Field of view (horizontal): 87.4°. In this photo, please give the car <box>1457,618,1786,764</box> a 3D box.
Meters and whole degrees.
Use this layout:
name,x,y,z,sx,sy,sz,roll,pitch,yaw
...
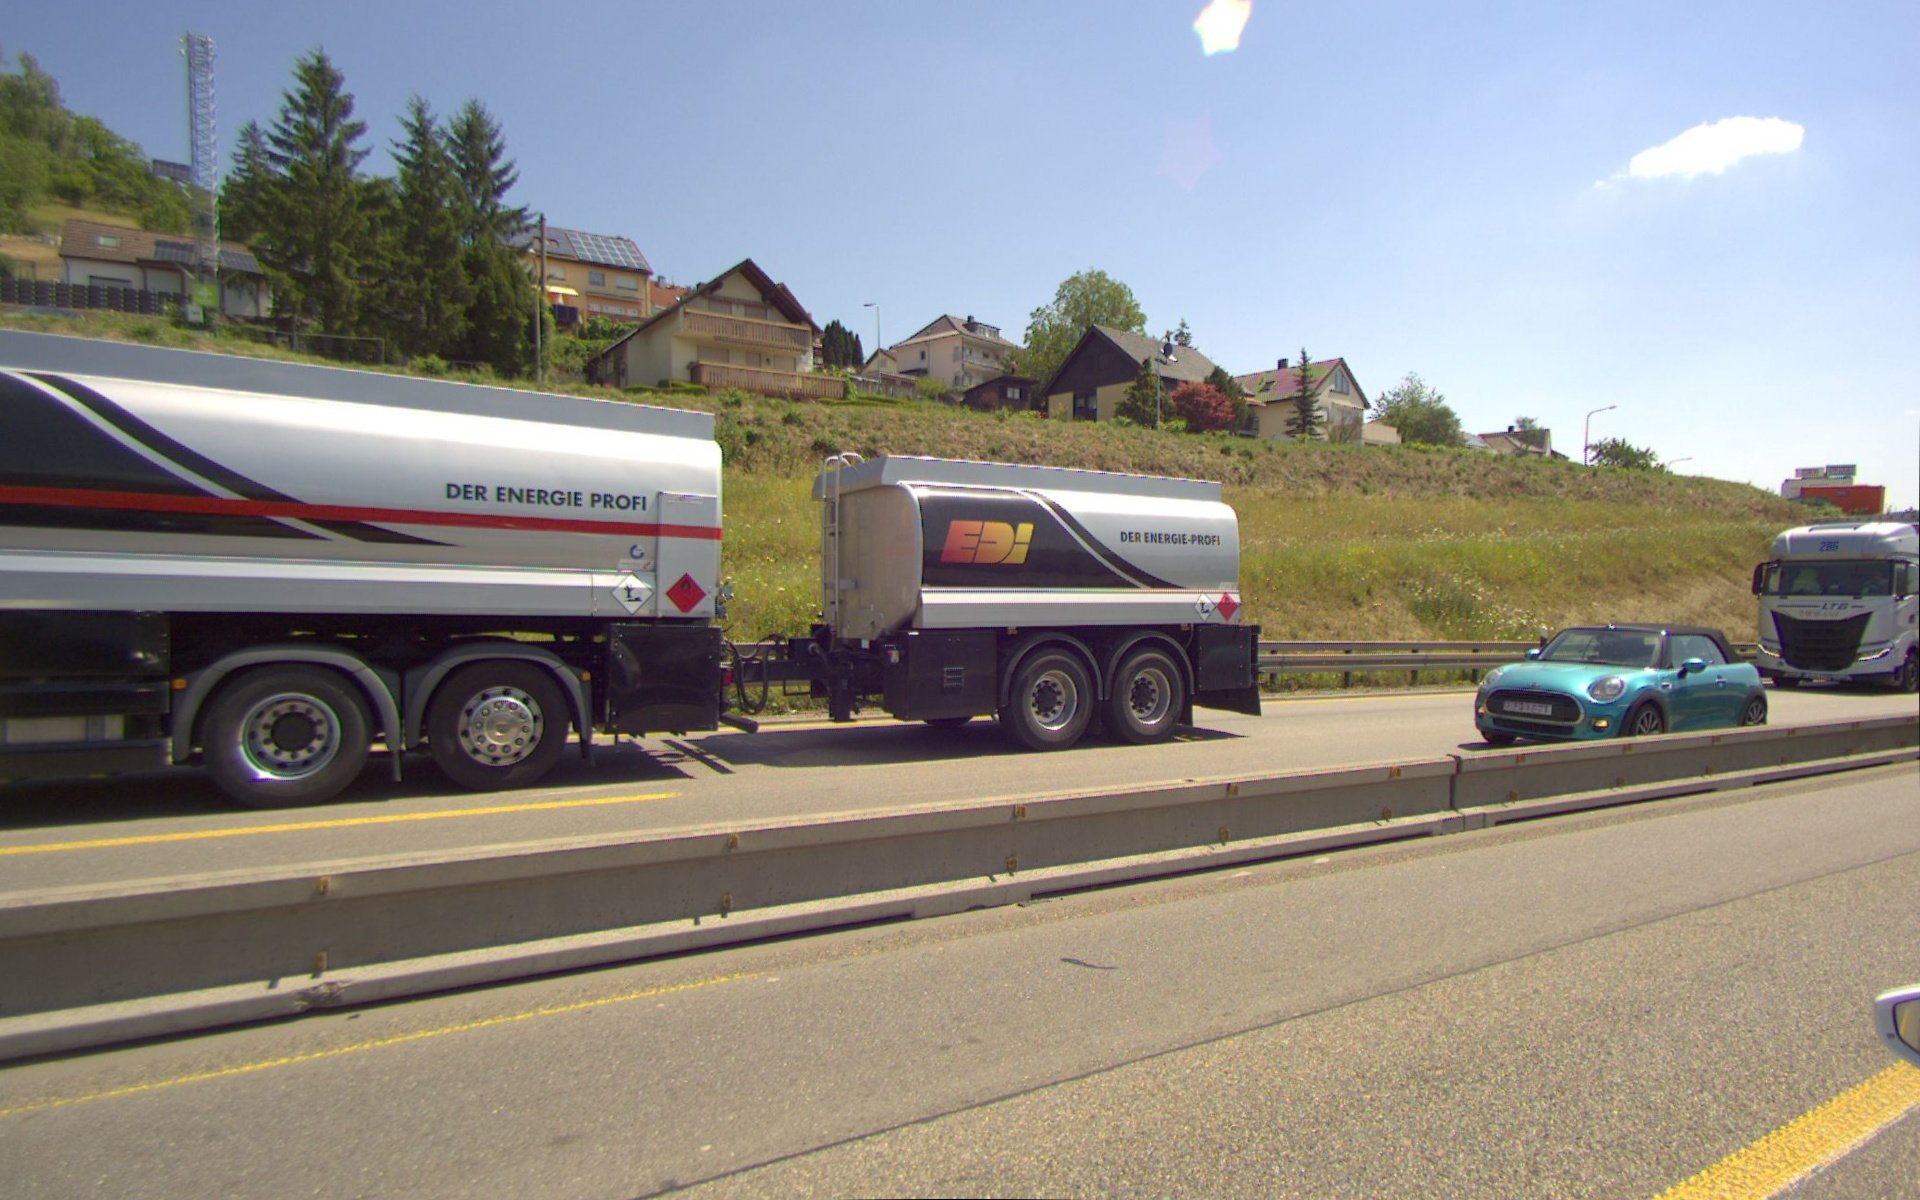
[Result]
name,x,y,z,sx,sy,sz,roll,pitch,yaw
car,7.678,0.938,11.586,3.859,1.413,1.657,1,0,-31

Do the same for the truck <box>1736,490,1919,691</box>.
name,x,y,z,sx,sy,sz,roll,pitch,yaw
truck,21.137,-0.154,23.700,5.226,4.237,2.732,1,0,-30

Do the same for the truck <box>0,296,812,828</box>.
name,x,y,z,sx,sy,sz,roll,pitch,yaw
truck,-5.774,-0.220,7.576,8.854,3.185,2.713,1,0,-30

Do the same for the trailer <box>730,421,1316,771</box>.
name,x,y,z,sx,sy,sz,roll,pitch,yaw
trailer,0.854,0.008,11.456,6.295,3.041,2.600,1,0,-30

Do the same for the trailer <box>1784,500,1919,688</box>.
name,x,y,z,sx,sy,sz,roll,pitch,yaw
trailer,27.080,-0.014,27.271,13.817,4.237,2.772,1,0,-31
